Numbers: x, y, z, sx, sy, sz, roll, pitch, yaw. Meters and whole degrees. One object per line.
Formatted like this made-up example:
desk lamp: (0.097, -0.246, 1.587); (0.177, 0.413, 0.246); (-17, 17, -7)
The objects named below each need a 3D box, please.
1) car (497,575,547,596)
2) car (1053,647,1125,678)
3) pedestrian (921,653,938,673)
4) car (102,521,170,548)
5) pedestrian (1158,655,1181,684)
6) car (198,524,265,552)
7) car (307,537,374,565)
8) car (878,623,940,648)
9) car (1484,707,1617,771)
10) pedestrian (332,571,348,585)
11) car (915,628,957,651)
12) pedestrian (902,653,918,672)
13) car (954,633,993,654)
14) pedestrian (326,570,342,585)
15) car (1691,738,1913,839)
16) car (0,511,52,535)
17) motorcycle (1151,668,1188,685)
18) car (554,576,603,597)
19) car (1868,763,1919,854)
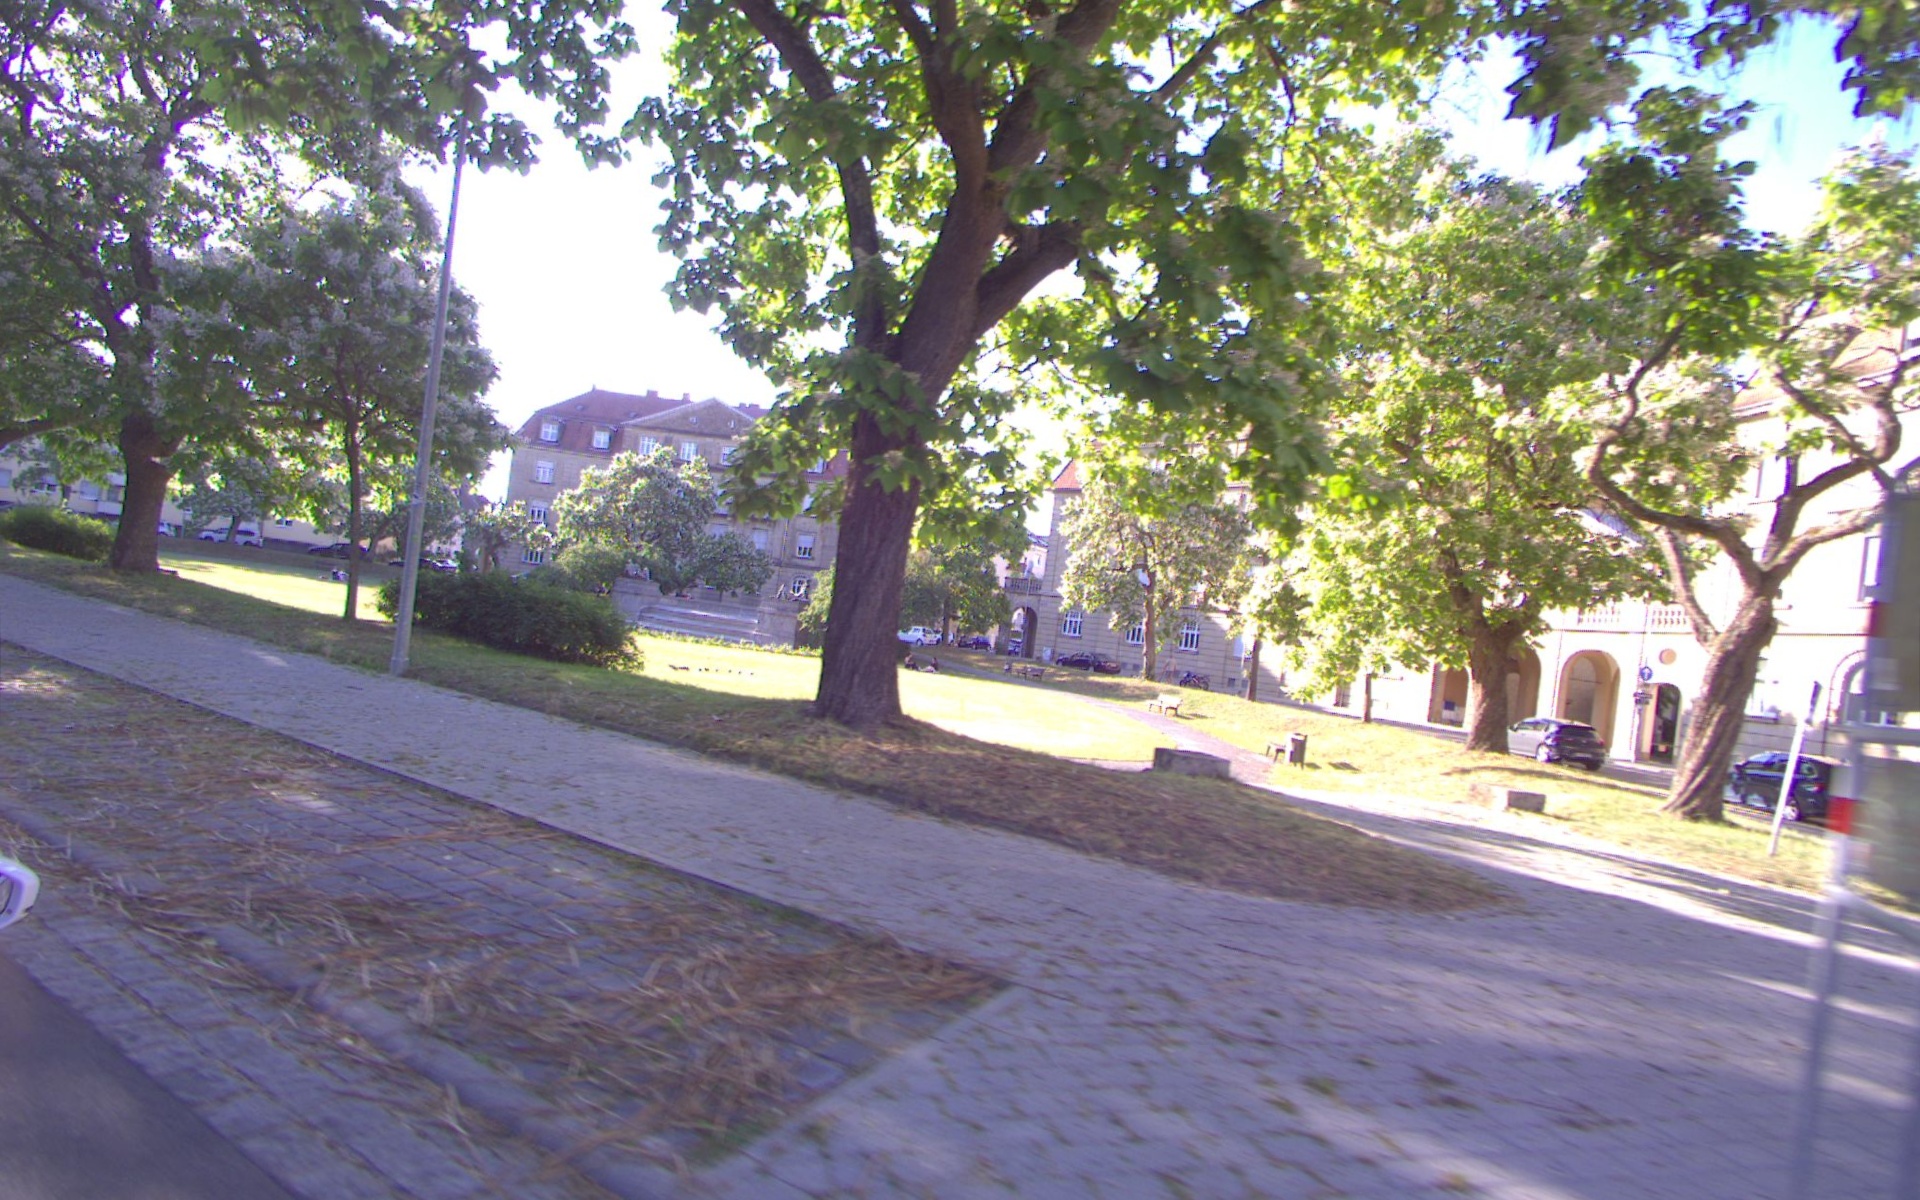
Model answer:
car: (-42.190, -1.395, 96.969); (3.925, 1.470, 1.882); (7, -1, 1)
car: (8.430, 4.104, 66.232); (1.802, 1.434, 4.907); (8, -2, -33)
pedestrian: (-1.541, 3.205, 51.371); (0.570, 0.891, 0.674); (8, -2, -20)
car: (-67.775, -5.367, 82.826); (3.958, 1.570, 1.598); (8, -2, -31)
pedestrian: (11.580, 3.841, 55.561); (0.935, 1.492, 0.681); (6, -1, 34)
car: (-65.707, -5.602, 90.785); (4.467, 1.766, 1.871); (8, -2, -24)
car: (-54.511, -4.262, 88.618); (4.456, 1.766, 1.876); (7, -1, -15)
car: (-4.059, 2.789, 79.319); (4.878, 1.434, 1.813); (5, -2, 39)
car: (19.192, 4.487, 32.953); (1.785, 1.434, 4.375); (7, -2, 2)
pedestrian: (-39.186, -1.382, 63.542); (0.577, 0.803, 0.666); (7, -1, -11)
car: (-2.224, 3.727, 94.449); (1.790, 1.642, 4.219); (6, -2, 33)
pedestrian: (-2.545, 3.171, 51.257); (0.570, 0.891, 0.674); (8, -2, -20)
car: (1.386, 4.360, 99.763); (1.790, 1.642, 4.219); (6, -2, 33)
pedestrian: (-39.059, -1.394, 62.769); (0.577, 0.803, 0.666); (7, -1, -11)
car: (18.268, 4.028, 22.123); (1.537, 1.434, 4.444); (7, -2, 9)
car: (-74.013, -6.096, 78.727); (4.175, 1.373, 1.676); (8, -2, -38)
motorcycle: (11.561, 4.210, 55.543); (1.830, 0.678, 0.681); (6, -2, 35)
car: (-36.767, -1.276, 96.996); (3.924, 1.470, 1.882); (7, -1, 6)
car: (17.192, 3.680, 16.156); (1.810, 1.434, 4.372); (7, -2, 12)
